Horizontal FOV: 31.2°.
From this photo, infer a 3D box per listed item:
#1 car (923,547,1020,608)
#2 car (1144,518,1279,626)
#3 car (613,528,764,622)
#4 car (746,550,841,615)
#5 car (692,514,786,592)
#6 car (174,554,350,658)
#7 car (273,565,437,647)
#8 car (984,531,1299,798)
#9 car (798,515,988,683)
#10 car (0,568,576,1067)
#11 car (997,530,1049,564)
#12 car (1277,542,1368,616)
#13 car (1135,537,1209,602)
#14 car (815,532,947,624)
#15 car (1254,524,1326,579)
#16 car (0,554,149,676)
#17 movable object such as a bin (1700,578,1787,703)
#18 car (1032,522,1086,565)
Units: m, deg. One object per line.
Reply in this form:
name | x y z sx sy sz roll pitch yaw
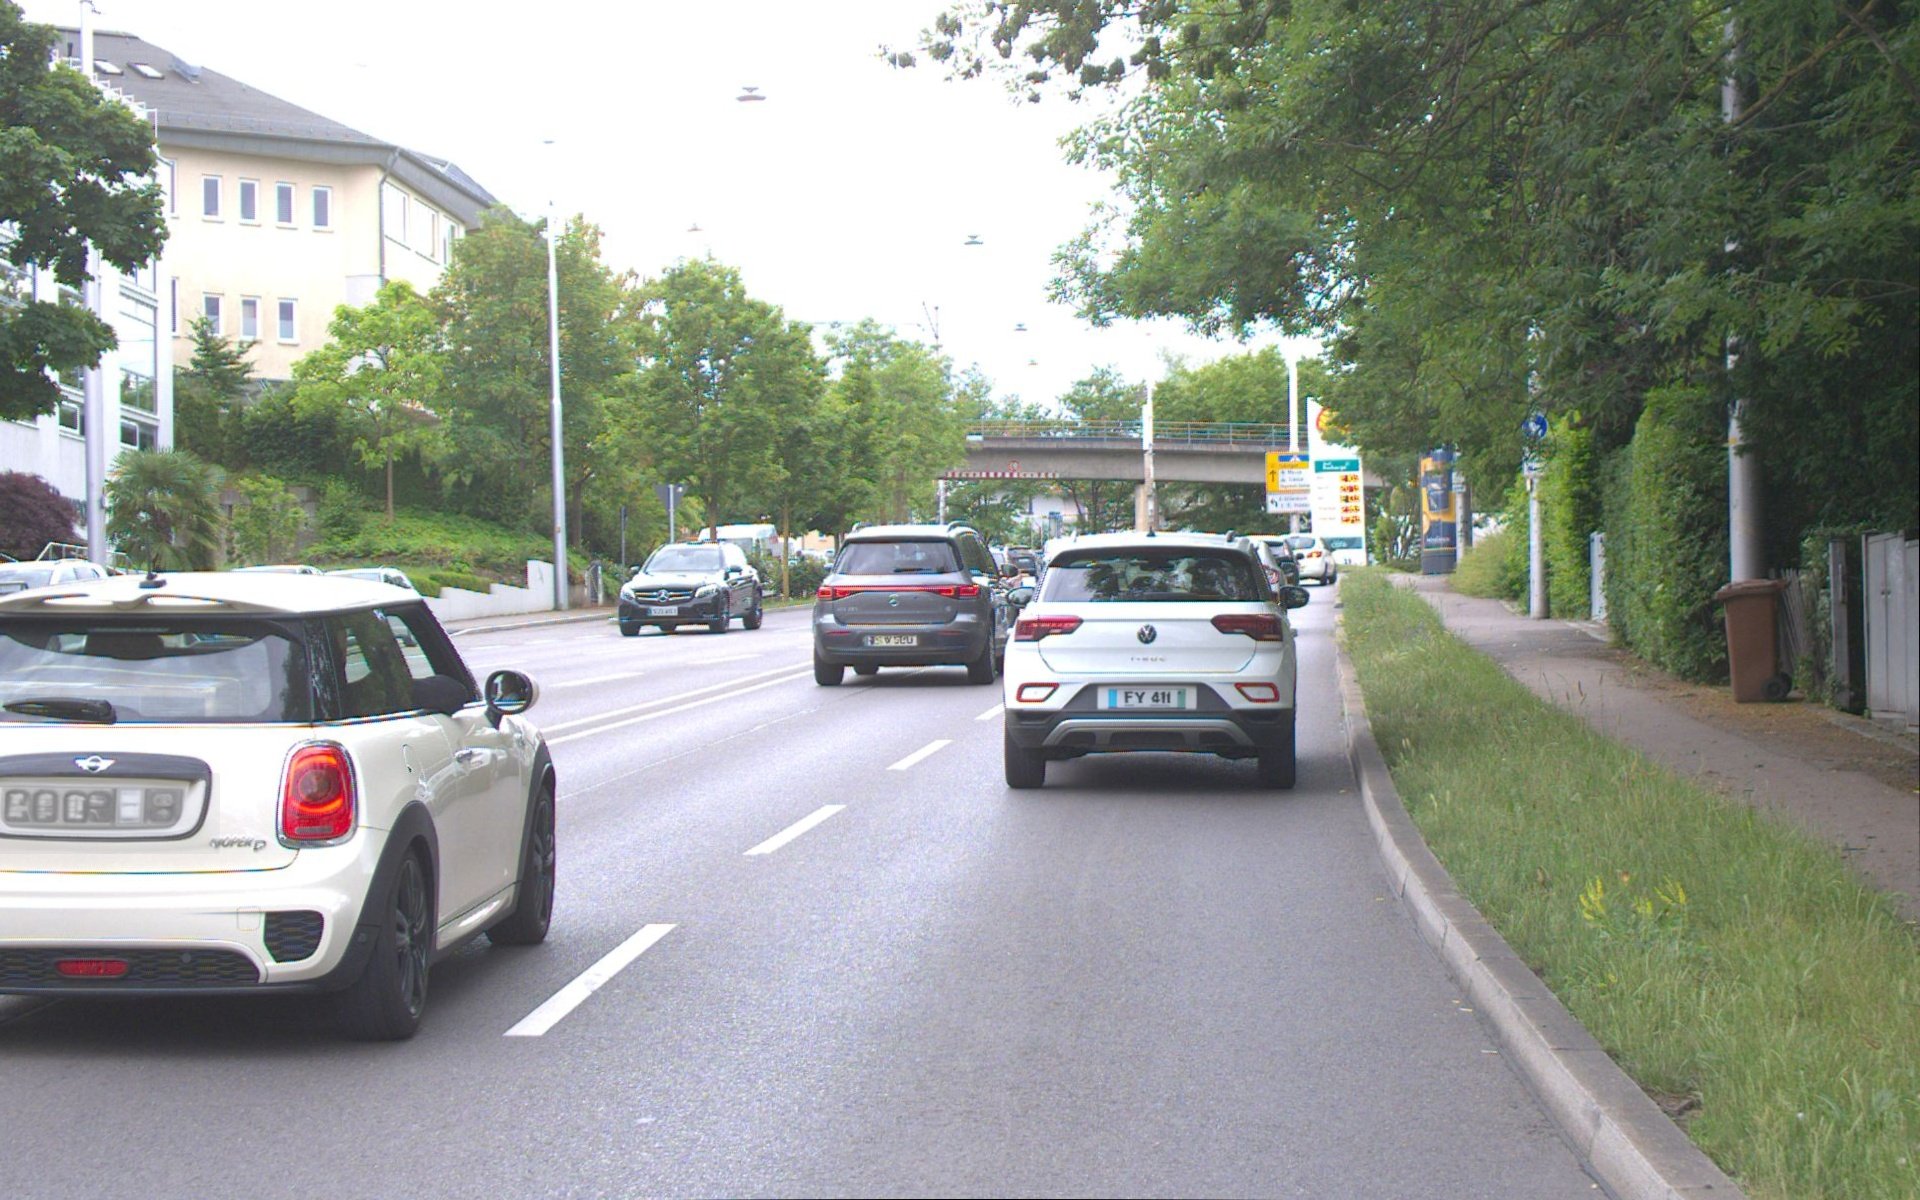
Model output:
car | 0.298 -0.545 79.374 1.741 1.348 4.845 0 1 6
car | 3.805 -0.408 52.622 1.873 1.496 4.554 2 0 3
car | -4.850 -0.466 61.927 1.771 1.628 4.141 0 1 9
car | -4.391 -0.491 91.379 2.069 1.651 4.692 -1 1 3
car | -6.723 -1.437 105.279 2.069 2.298 5.464 -1 1 5
car | -11.374 0.072 56.230 1.771 1.628 3.915 -1 1 5
car | -10.846 0.087 61.899 1.771 1.402 4.141 0 1 7
car | 1.196 0.352 21.966 1.812 1.534 3.689 -1 1 4
car | -0.779 -0.037 36.773 1.812 1.646 4.637 -1 1 -4
car | -2.435 0.614 11.617 1.628 1.388 3.566 -1 1 4
car | 2.851 -2.433 156.980 1.858 1.495 4.056 -1 1 -6
car | 7.921 -0.438 75.294 1.873 1.496 4.554 2 0 6
car | 5.615 -0.816 90.572 1.858 1.646 4.635 -1 1 4
car | -1.395 -0.412 62.615 1.771 1.591 5.182 0 1 6
car | 9.401 -1.389 98.093 1.858 1.495 4.055 -1 1 3
car | -12.131 0.159 44.284 1.771 1.493 4.303 0 1 9
movable object such as a bin | 6.002 0.305 26.335 0.555 0.944 0.567 0 1 2
car | 3.691 -2.076 127.426 1.896 1.536 4.692 -1 1 3
